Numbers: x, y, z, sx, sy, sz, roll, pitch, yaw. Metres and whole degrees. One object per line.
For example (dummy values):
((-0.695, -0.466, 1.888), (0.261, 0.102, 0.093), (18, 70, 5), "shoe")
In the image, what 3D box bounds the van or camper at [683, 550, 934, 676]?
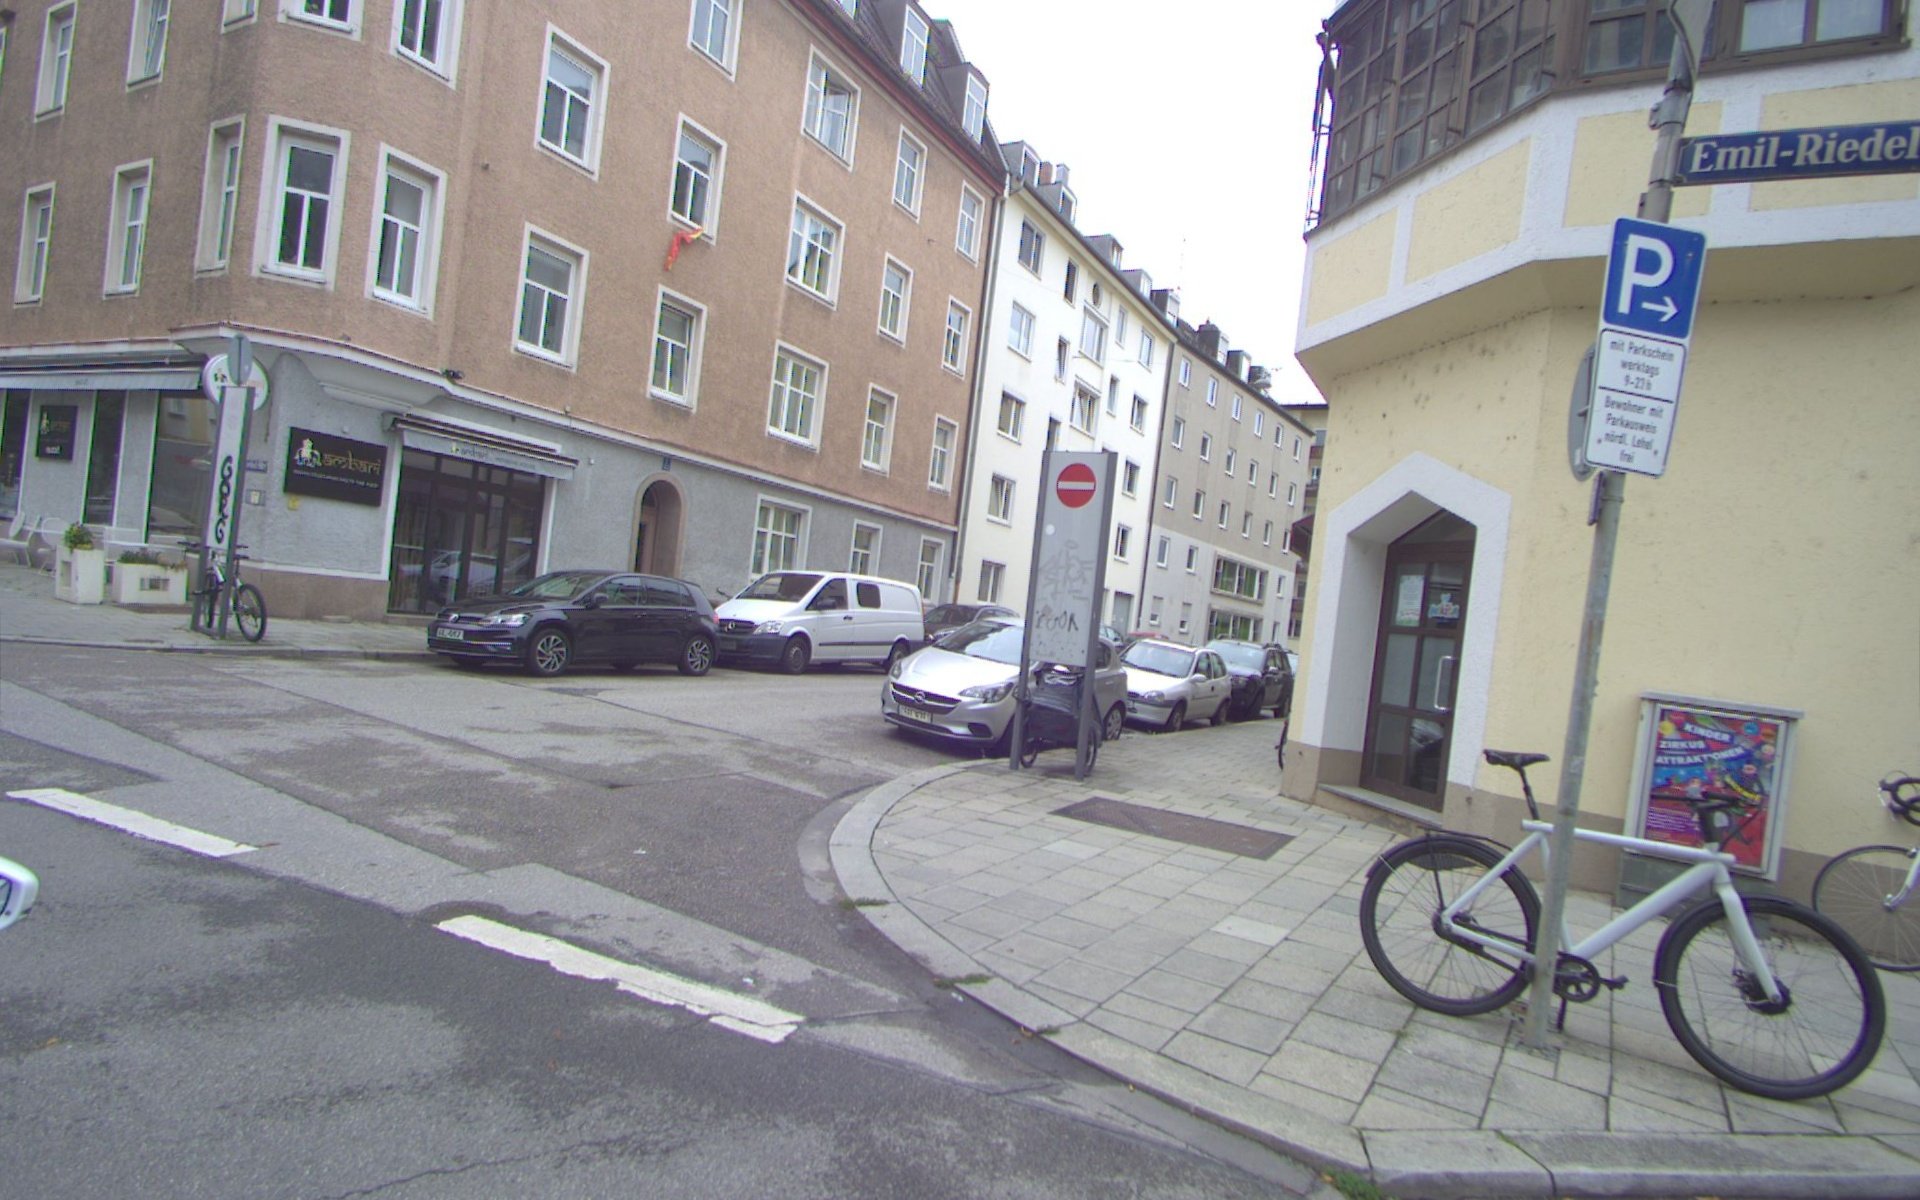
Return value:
((-2.667, 0.348, 19.051), (1.928, 1.942, 4.907), (5, -2, 30), "van or camper")

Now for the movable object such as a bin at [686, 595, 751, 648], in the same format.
((-4.997, 0.451, 20.816), (0.951, 0.962, 0.734), (8, 1, 22), "movable object such as a bin")

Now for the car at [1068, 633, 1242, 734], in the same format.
((3.378, 1.369, 16.984), (1.612, 1.354, 3.447), (6, 0, 33), "car")

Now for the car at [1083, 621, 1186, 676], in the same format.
((6.191, 1.737, 35.249), (1.945, 1.588, 4.661), (6, 0, 30), "car")

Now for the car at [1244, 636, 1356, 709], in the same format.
((9.321, 1.991, 27.368), (1.945, 1.587, 4.425), (6, -1, 30), "car")

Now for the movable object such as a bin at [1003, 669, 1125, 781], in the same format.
((1.004, 1.154, 9.542), (0.672, 0.911, 1.124), (7, 0, 30), "movable object such as a bin")

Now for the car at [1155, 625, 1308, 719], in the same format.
((5.845, 1.534, 21.348), (1.952, 1.603, 4.021), (6, -1, 31), "car")

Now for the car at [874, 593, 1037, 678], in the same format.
((-0.010, 0.878, 23.734), (1.945, 1.664, 3.989), (6, 0, 31), "car")

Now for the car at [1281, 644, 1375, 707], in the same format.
((11.572, 2.380, 31.449), (1.945, 1.587, 4.425), (6, -1, 30), "car")

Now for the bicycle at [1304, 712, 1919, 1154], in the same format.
((2.526, 1.192, 4.047), (2.019, 1.173, 0.430), (6, 1, 31), "bicycle")

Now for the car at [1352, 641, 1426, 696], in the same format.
((18.569, 2.986, 43.443), (2.032, 2.002, 4.422), (6, -1, 33), "car")

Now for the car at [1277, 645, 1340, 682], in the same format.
((18.901, 3.464, 54.391), (1.947, 1.587, 4.419), (6, -1, 35), "car")

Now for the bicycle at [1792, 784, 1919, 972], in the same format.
((5.655, 1.621, 5.445), (1.667, 0.915, 0.261), (6, 5, 32), "bicycle")

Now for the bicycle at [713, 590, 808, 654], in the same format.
((-4.312, 0.471, 21.772), (1.892, 1.158, 0.475), (7, 1, 13), "bicycle")

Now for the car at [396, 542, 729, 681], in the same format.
((-5.307, 0.244, 13.931), (1.860, 1.506, 3.879), (6, -1, 30), "car")

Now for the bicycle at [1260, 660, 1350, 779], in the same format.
((3.993, 1.334, 11.562), (0.506, 1.201, 1.903), (7, 0, 30), "bicycle")

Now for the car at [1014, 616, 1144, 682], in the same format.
((3.655, 1.505, 30.195), (1.946, 1.521, 4.662), (7, -1, 32), "car")

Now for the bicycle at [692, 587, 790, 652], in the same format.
((-4.640, 0.410, 21.322), (1.892, 1.158, 0.475), (7, 1, 13), "bicycle")

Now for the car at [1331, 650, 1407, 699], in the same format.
((15.916, 2.917, 39.058), (1.945, 1.587, 4.424), (6, -1, 31), "car")

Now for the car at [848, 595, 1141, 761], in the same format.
((0.574, 0.923, 12.232), (1.723, 1.458, 3.737), (10, 2, 33), "car")

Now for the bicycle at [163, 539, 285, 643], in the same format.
((-8.848, -0.116, 12.070), (1.773, 1.019, 0.496), (8, 3, 32), "bicycle")
